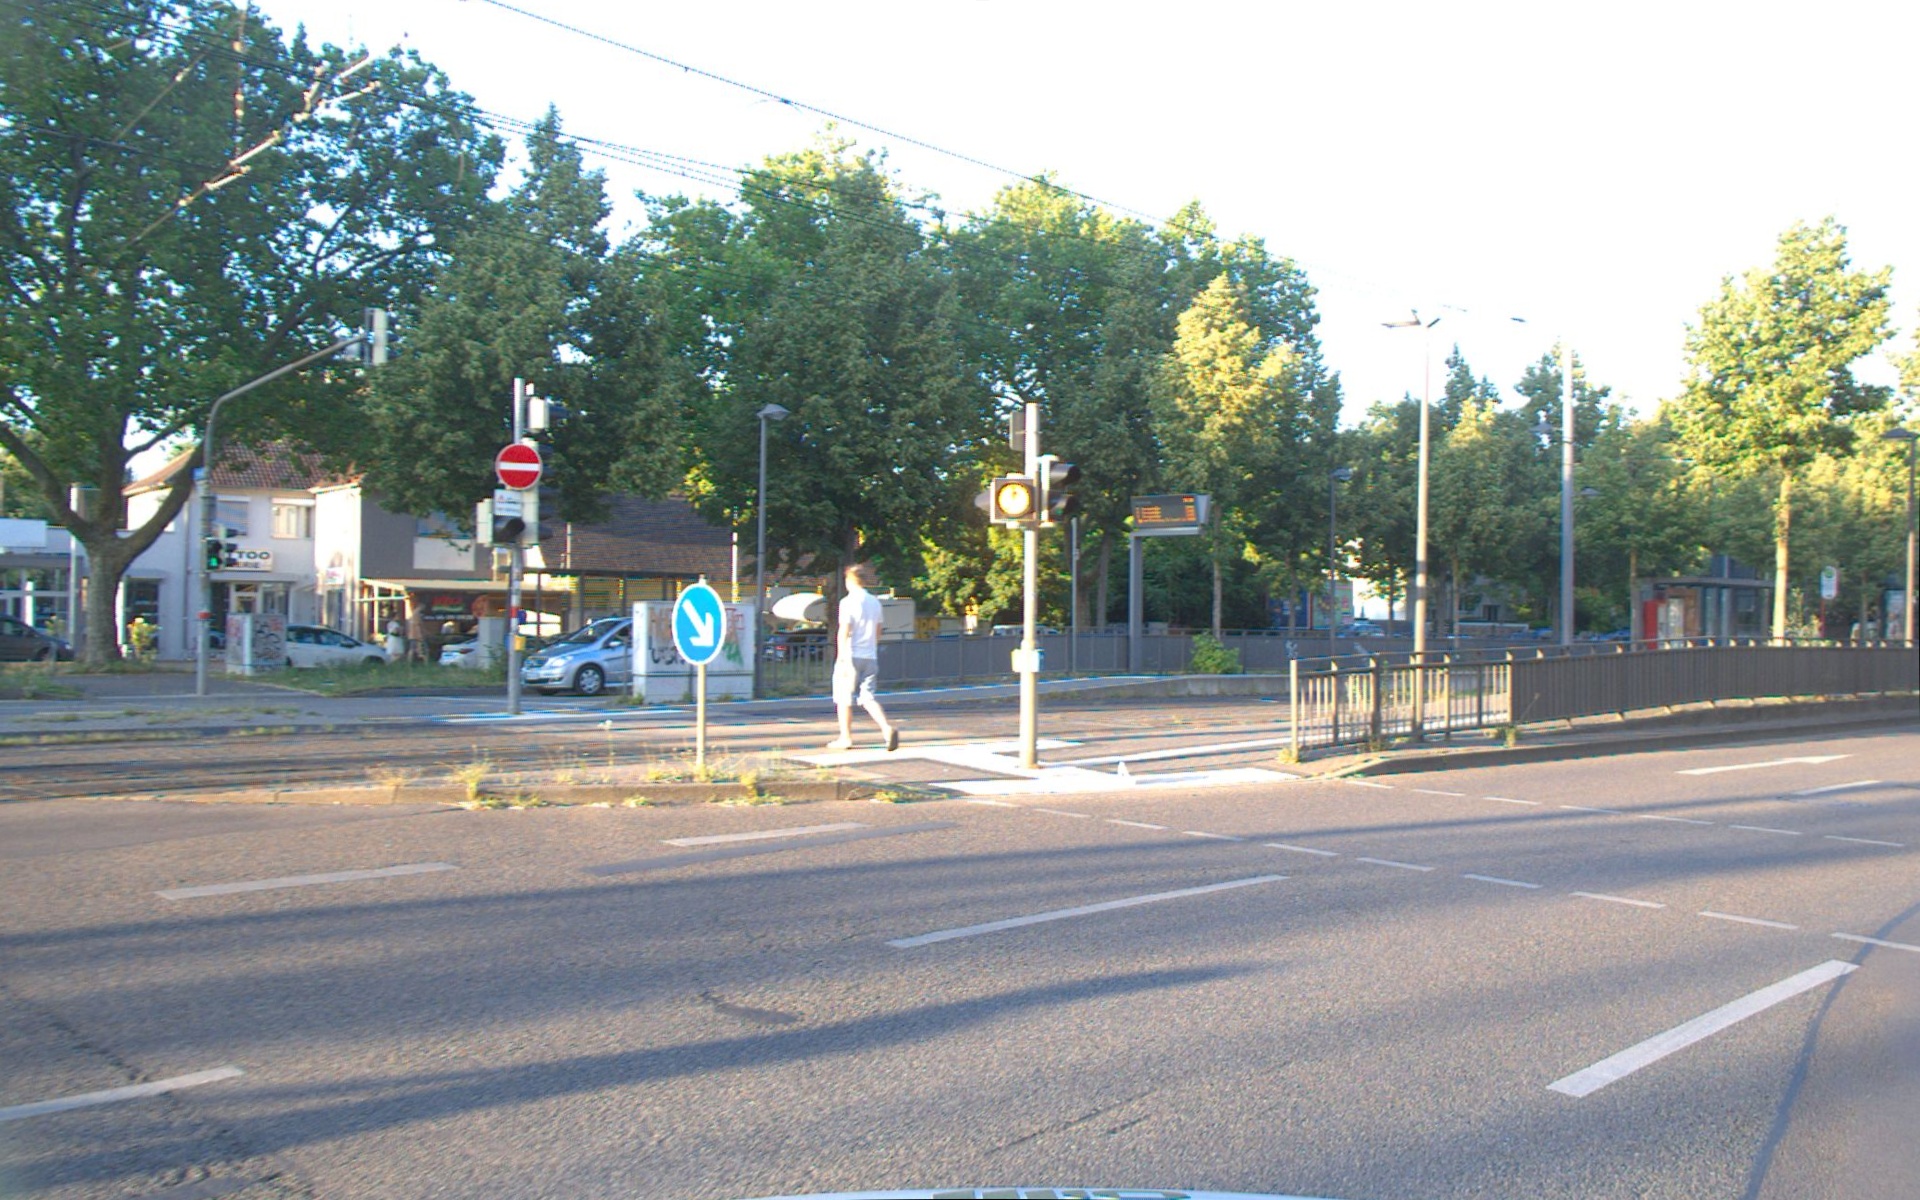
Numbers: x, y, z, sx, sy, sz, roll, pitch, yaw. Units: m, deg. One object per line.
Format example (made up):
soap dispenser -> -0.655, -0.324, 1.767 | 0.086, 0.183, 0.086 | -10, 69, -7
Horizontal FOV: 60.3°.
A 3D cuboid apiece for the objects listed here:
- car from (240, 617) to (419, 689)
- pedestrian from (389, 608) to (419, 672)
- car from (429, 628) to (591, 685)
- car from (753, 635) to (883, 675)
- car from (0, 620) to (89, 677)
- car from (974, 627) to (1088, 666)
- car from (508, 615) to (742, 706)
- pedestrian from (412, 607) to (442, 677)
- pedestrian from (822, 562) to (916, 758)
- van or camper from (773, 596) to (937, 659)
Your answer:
car -> -17.320, 1.437, 45.503 | 4.202, 1.879, 1.972 | 2, -2, -39
pedestrian -> -14.743, 1.069, 43.875 | 0.707, 1.668, 0.893 | 1, -1, -17
car -> -13.221, 1.643, 48.715 | 4.202, 1.605, 1.972 | 2, -2, -39
car -> -4.907, 1.918, 57.446 | 4.202, 1.323, 1.899 | 2, -2, -39
car -> -31.402, 1.587, 54.688 | 4.343, 1.867, 1.923 | 1, -1, -37
car -> 2.785, 1.798, 64.144 | 4.202, 1.490, 1.972 | 1, -2, -39
car -> -6.873, 1.222, 34.254 | 1.830, 1.758, 4.517 | -1, -2, 44
pedestrian -> -13.836, 1.092, 42.968 | 0.707, 1.785, 0.893 | 1, -1, -17
pedestrian -> -0.888, 0.580, 15.993 | 0.748, 1.822, 0.800 | 2, -2, -11
van or camper -> -4.197, 1.167, 66.948 | 6.515, 2.453, 2.234 | 2, -2, -38
